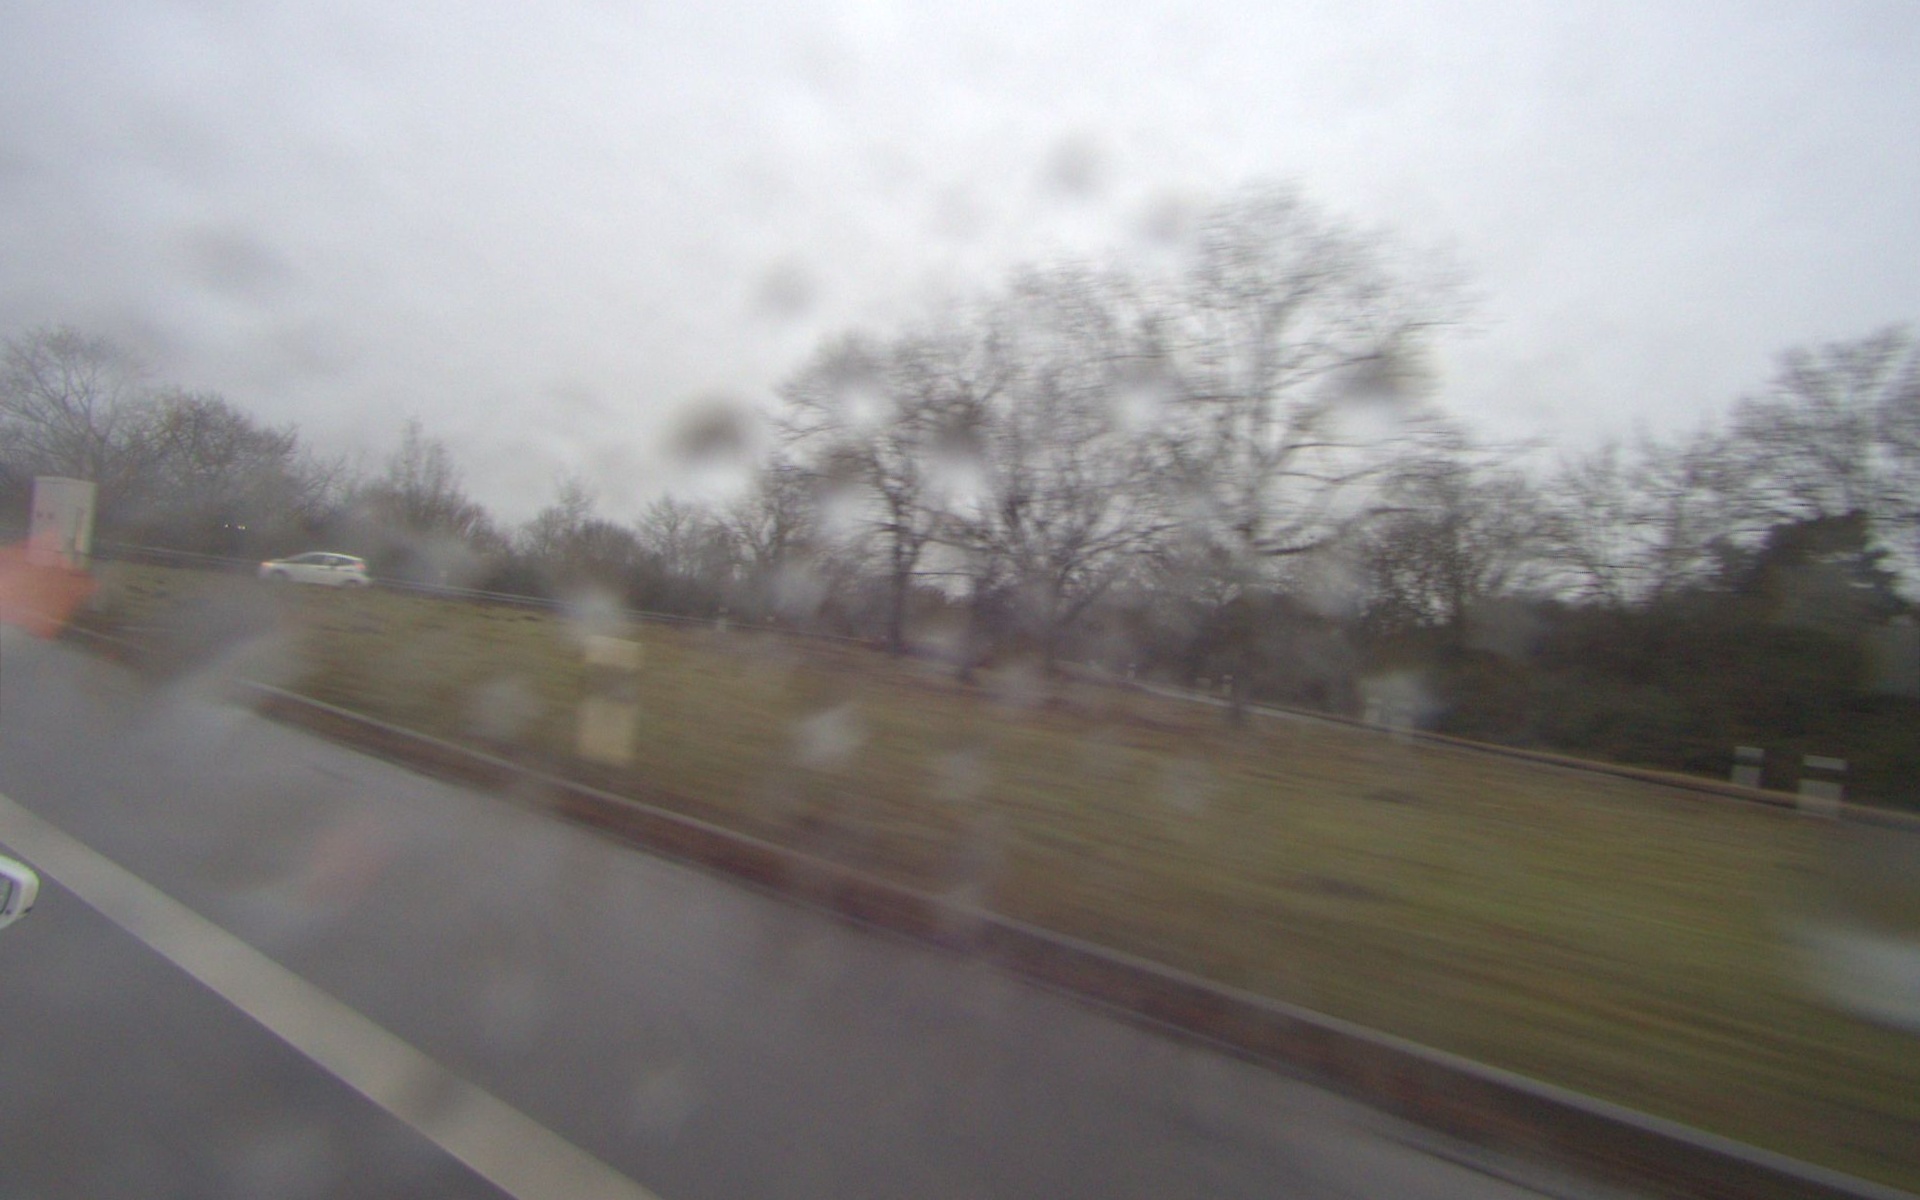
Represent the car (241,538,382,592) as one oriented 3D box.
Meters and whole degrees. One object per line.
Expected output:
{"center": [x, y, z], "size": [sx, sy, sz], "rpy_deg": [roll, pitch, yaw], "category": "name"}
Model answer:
{"center": [-23.704, -1.258, 36.951], "size": [3.948, 1.361, 1.989], "rpy_deg": [8, -1, -24], "category": "car"}
